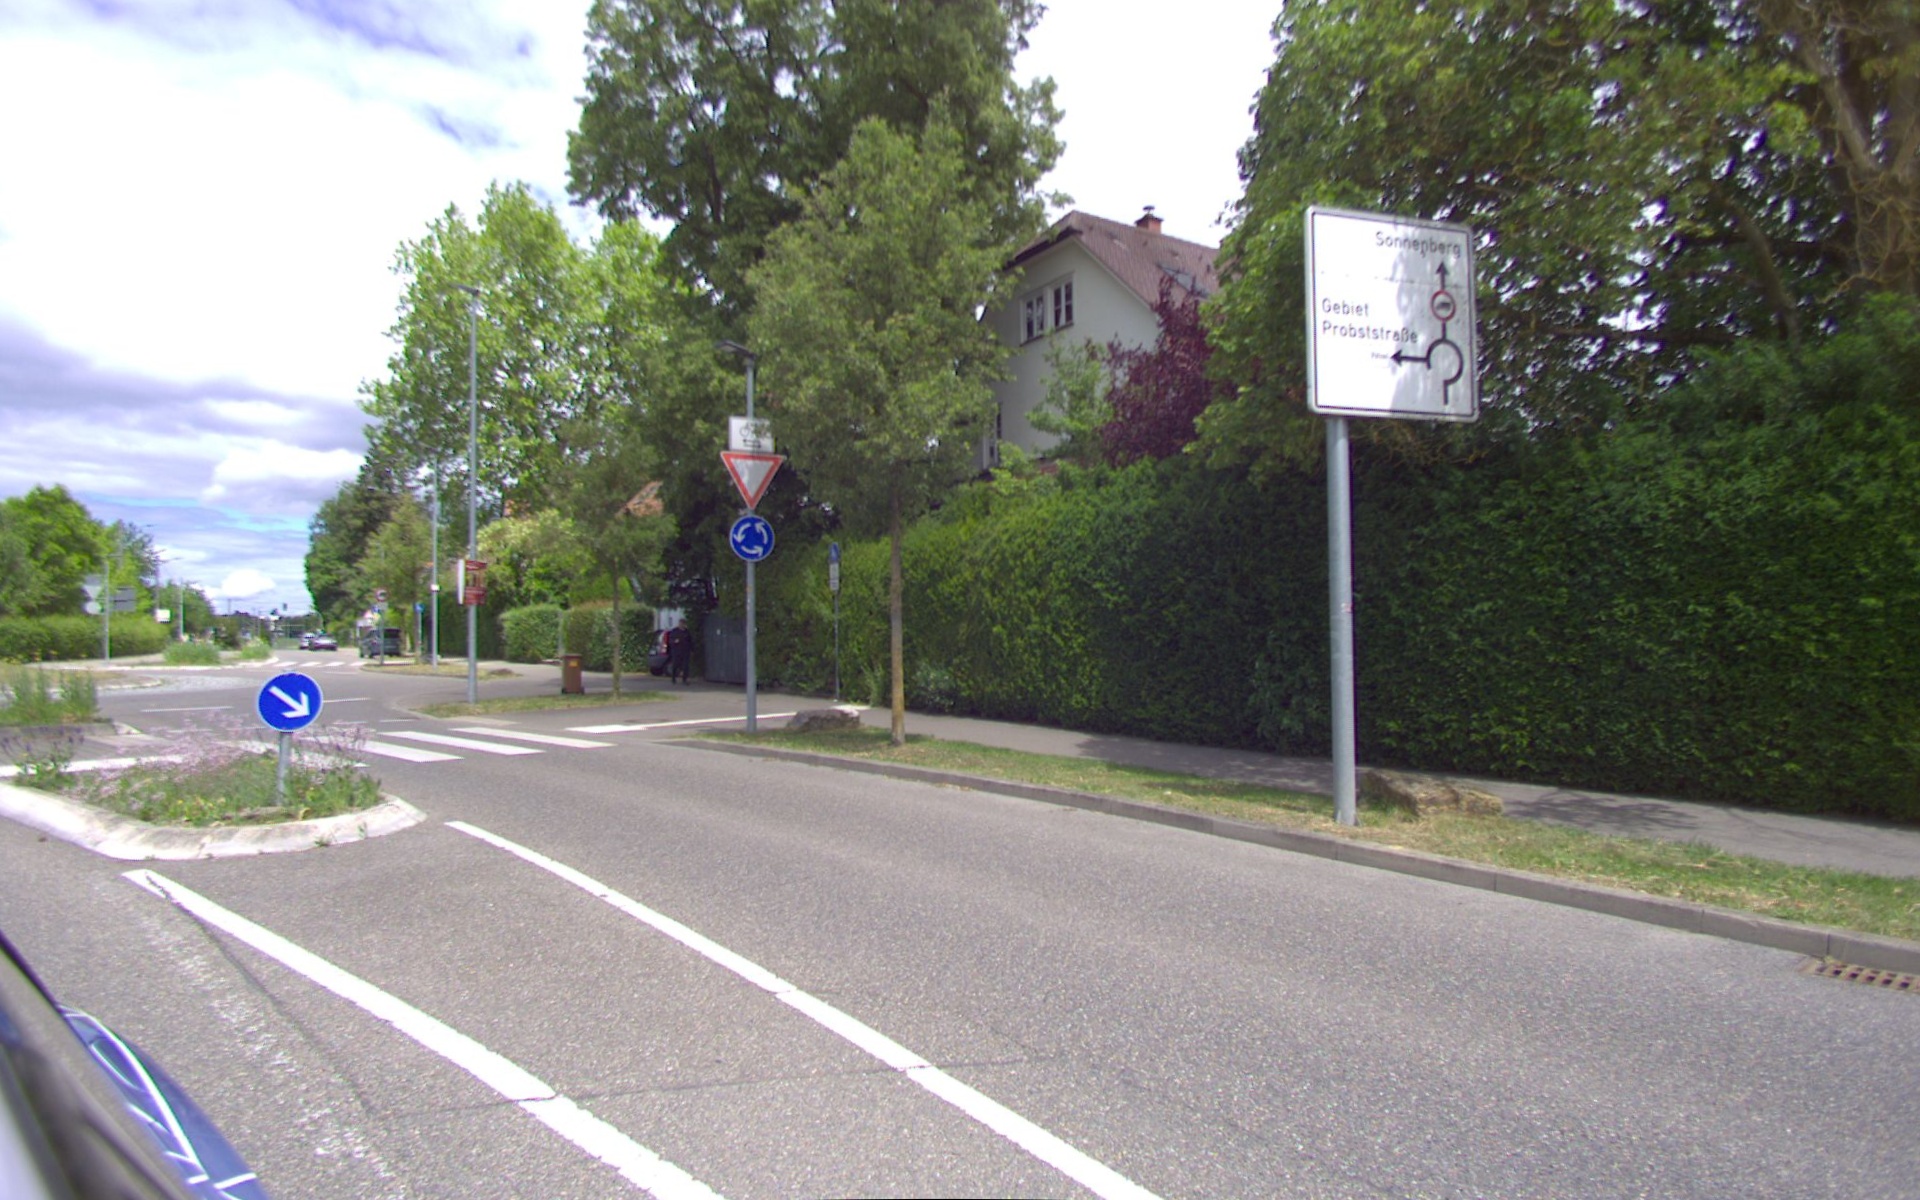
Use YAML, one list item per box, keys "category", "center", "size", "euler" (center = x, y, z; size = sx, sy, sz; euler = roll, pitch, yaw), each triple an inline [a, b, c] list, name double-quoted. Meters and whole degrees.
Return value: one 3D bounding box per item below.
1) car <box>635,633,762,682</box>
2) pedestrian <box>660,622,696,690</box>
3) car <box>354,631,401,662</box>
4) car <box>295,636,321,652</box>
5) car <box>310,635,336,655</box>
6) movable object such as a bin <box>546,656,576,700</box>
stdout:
- category: "car"
  center: [-8.314, 1.838, 32.259]
  size: [3.519, 1.408, 1.669]
  euler: [4, -4, -34]
- category: "pedestrian"
  center: [-7.287, 1.437, 26.145]
  size: [0.734, 1.704, 0.696]
  euler: [0, -1, -34]
- category: "car"
  center: [-32.756, 2.583, 56.840]
  size: [1.655, 1.674, 4.007]
  euler: [2, -2, -39]
- category: "car"
  center: [-73.566, 4.946, 114.131]
  size: [1.968, 1.719, 4.007]
  euler: [2, -3, -40]
- category: "car"
  center: [-55.749, 3.933, 88.545]
  size: [1.833, 1.589, 4.010]
  euler: [0, -1, -34]
- category: "movable object such as a bin"
  center: [-8.891, 1.733, 22.563]
  size: [0.410, 0.942, 0.437]
  euler: [-1, -3, 27]
